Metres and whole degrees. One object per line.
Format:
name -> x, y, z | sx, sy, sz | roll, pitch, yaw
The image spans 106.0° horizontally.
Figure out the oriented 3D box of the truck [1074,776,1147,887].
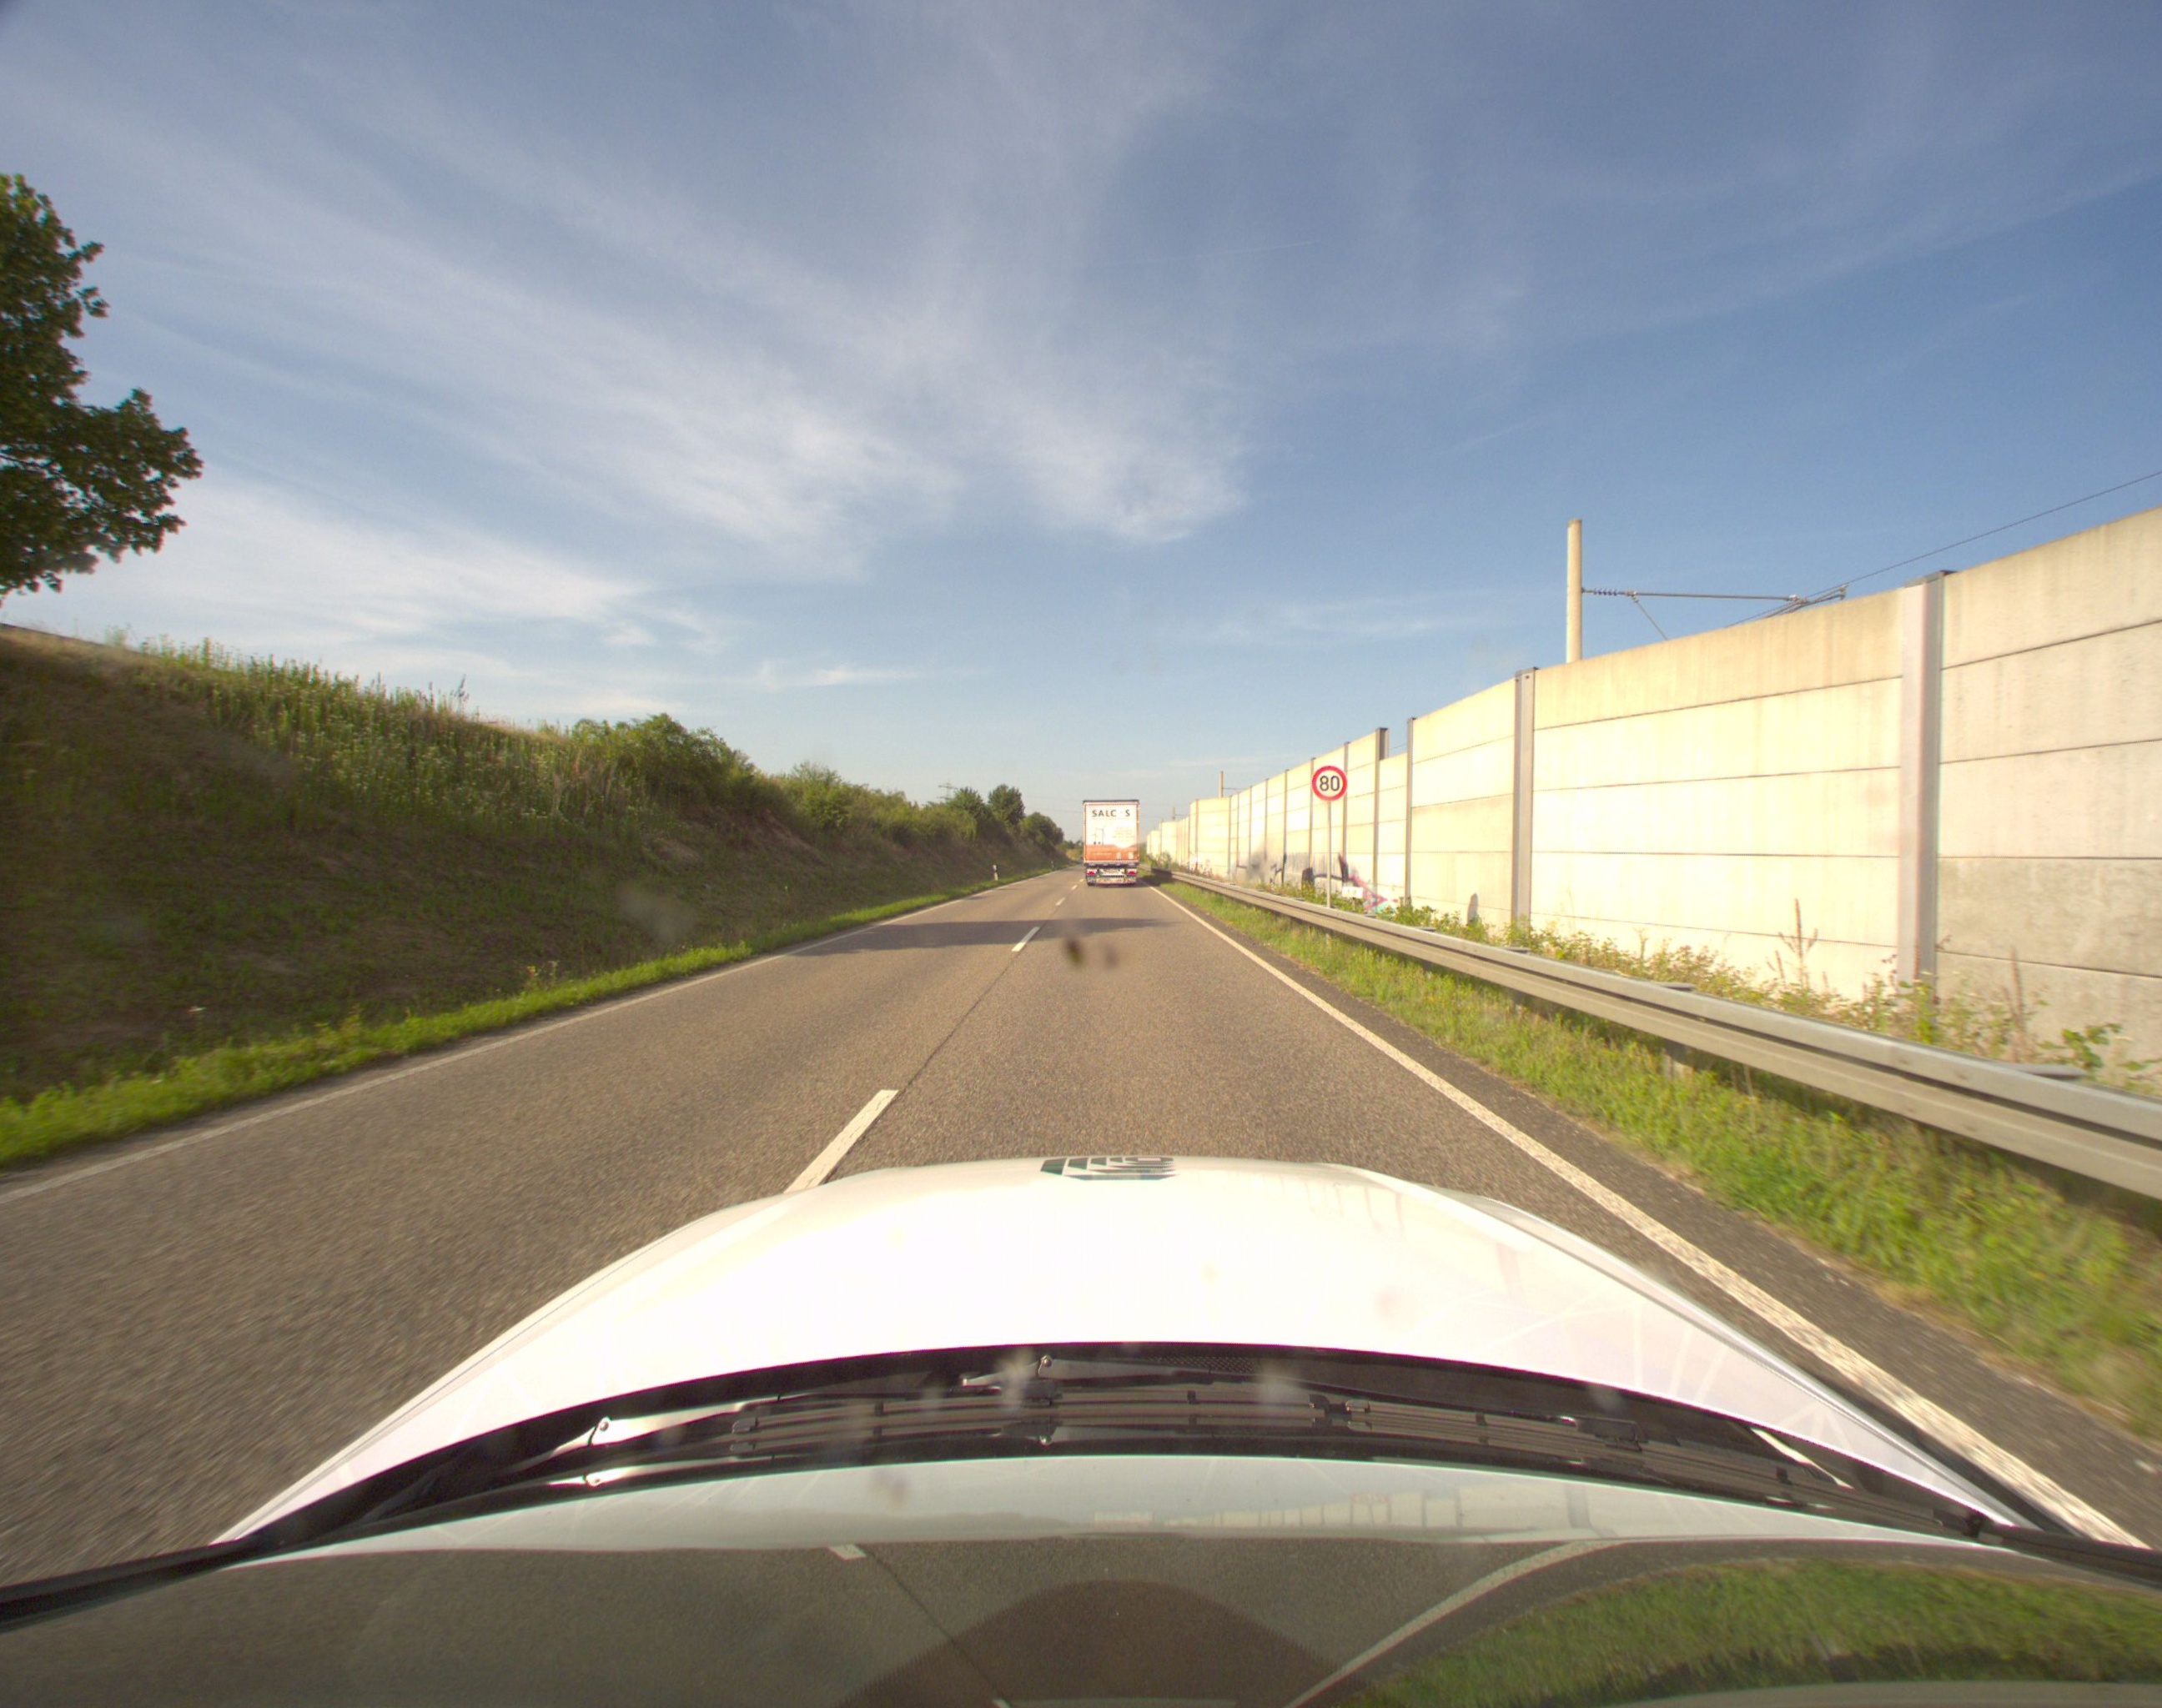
truck -> 1.374, -1.074, 43.418 | 3.280, 5.090, 12.036 | 0, 0, 0
